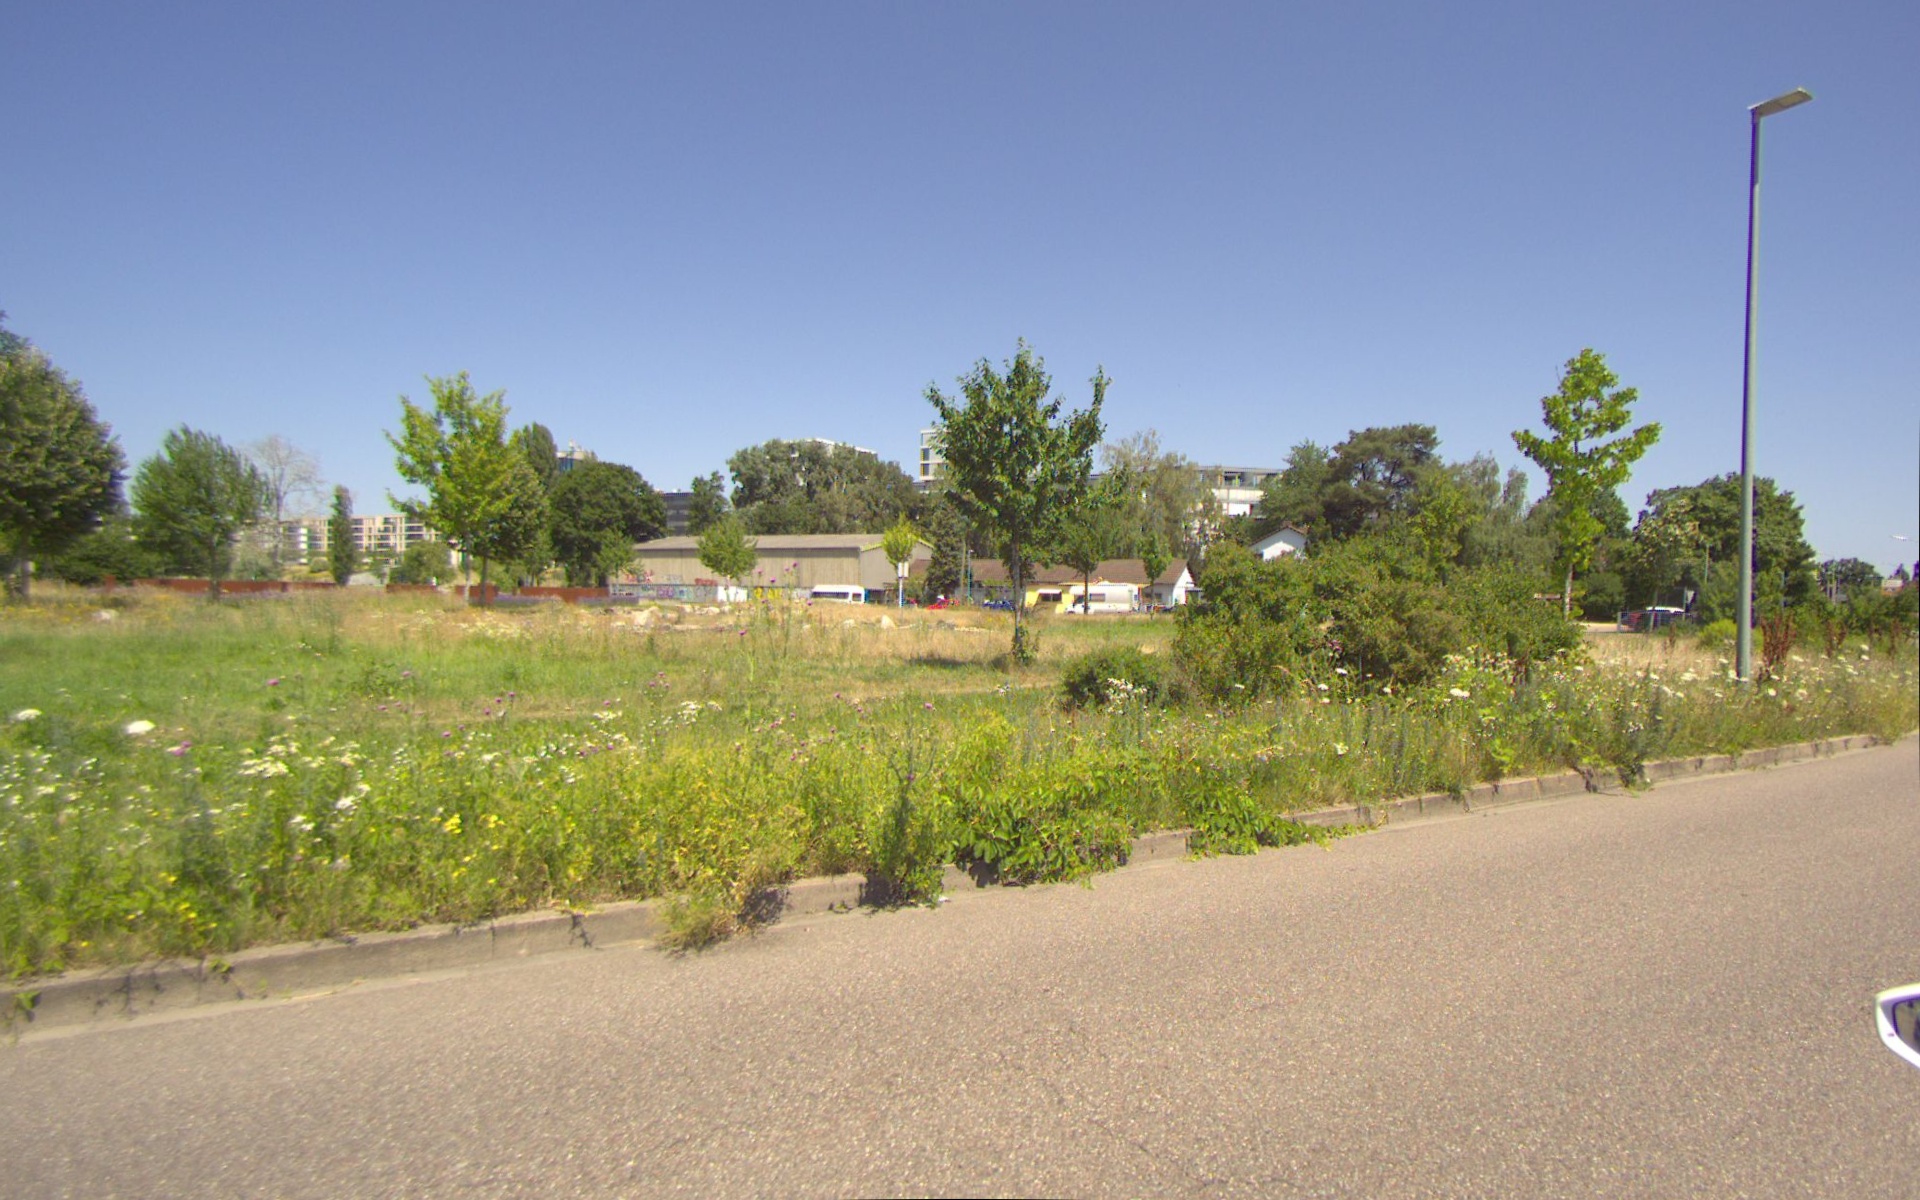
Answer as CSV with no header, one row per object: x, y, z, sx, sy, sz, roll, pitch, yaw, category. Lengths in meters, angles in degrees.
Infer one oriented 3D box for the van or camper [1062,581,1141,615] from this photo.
11.559,-0.200,81.930,5.862,2.628,2.467,1,0,30,van or camper

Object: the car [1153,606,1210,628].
17.339,1.292,78.618,3.932,1.573,1.910,1,0,33,car

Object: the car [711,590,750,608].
-23.245,-0.120,101.717,3.514,1.795,1.755,1,0,28,car

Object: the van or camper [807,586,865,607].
-11.651,-0.333,94.518,4.966,1.905,2.355,1,0,28,van or camper

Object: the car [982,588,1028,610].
3.863,-0.076,85.889,3.514,1.795,1.755,1,0,28,car

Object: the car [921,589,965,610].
-1.500,-0.073,89.230,3.514,1.795,1.755,1,0,28,car

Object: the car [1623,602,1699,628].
54.173,1.149,77.683,4.762,1.865,1.992,1,0,38,car
